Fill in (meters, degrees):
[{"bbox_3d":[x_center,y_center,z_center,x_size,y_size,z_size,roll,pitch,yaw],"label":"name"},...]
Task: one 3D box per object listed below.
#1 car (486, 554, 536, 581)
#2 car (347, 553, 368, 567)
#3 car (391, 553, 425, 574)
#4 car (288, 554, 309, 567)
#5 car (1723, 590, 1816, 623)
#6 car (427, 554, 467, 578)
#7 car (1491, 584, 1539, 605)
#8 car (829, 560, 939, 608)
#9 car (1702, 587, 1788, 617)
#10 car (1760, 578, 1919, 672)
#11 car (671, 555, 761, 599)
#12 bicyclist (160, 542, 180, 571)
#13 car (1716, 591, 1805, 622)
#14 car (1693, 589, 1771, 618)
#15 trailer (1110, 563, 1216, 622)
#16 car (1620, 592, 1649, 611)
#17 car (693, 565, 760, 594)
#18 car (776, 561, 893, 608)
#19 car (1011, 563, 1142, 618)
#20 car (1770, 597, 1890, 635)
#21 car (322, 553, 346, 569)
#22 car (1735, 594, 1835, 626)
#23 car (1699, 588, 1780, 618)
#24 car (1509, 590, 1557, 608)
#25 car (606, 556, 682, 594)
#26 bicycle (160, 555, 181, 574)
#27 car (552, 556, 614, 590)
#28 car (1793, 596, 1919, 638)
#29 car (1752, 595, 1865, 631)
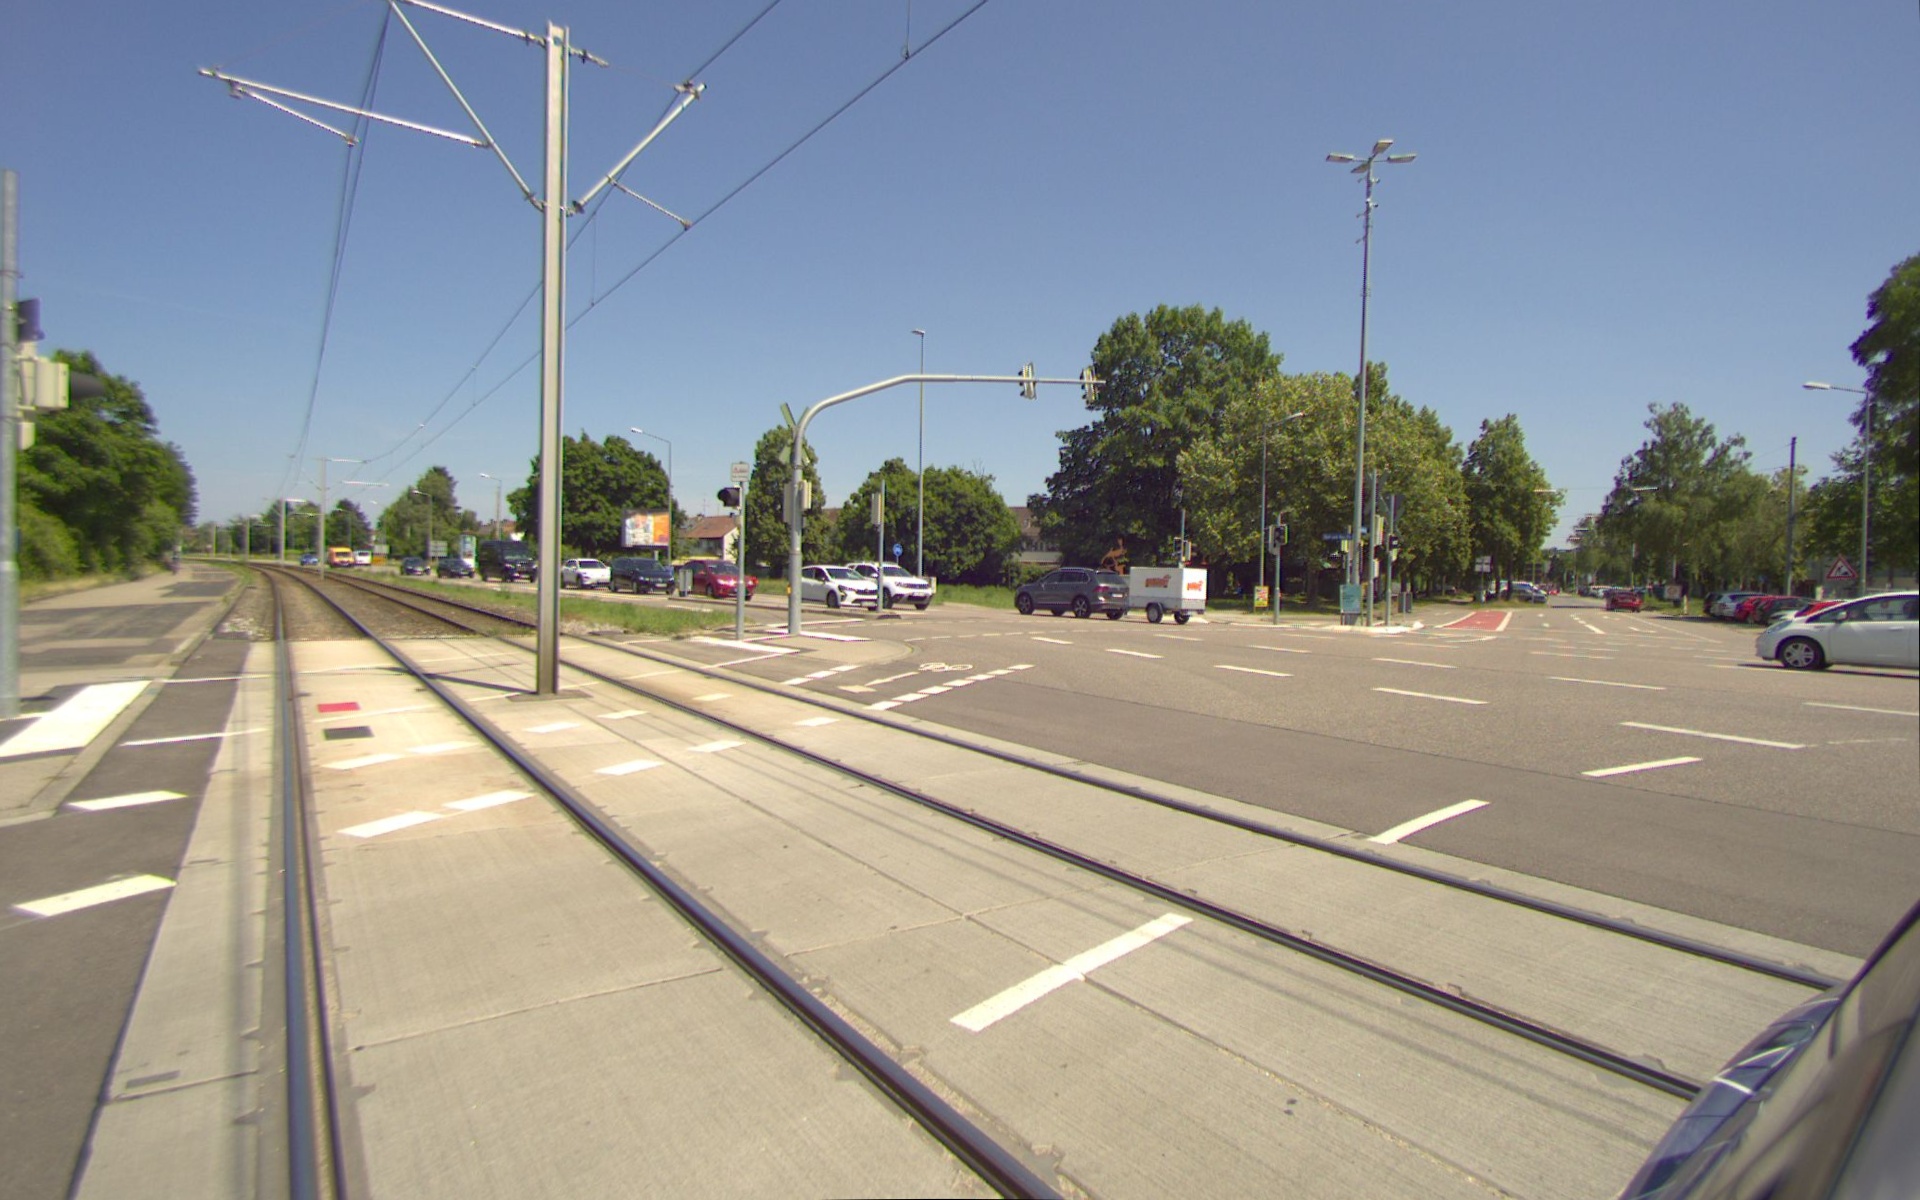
[{"bbox_3d":[-28.027,-2.033,63.105,1.840,1.596,4.410,2,1,-37],"label":"car"},{"bbox_3d":[-78.870,-5.250,132.481,1.741,1.777,3.996,3,0,-40],"label":"car"},{"bbox_3d":[-45.940,-3.064,84.197,1.840,1.596,4.410,2,1,-37],"label":"car"},{"bbox_3d":[-93.330,-5.631,142.777,1.965,1.811,3.996,-2,3,-39],"label":"car"},{"bbox_3d":[40.960,0.312,51.289,3.462,1.574,1.568,1,-1,30],"label":"car"},{"bbox_3d":[-37.967,-2.527,74.796,1.840,1.596,4.410,2,1,-37],"label":"car"},{"bbox_3d":[49.979,-0.475,91.115,3.741,1.750,1.743,1,-1,30],"label":"car"},{"bbox_3d":[-2.812,-0.621,36.661,1.840,1.596,4.410,2,1,-37],"label":"car"},{"bbox_3d":[42.881,0.121,55.355,3.462,1.574,1.568,1,-1,30],"label":"car"},{"bbox_3d":[16.550,0.448,17.558,1.700,1.523,3.895,2,1,-39],"label":"car"},{"bbox_3d":[-9.829,-0.947,40.553,1.840,1.596,4.410,2,1,-37],"label":"car"},{"bbox_3d":[-57.303,-3.157,73.414,1.056,2.038,1.184,-3,3,-40],"label":"bicyclist"},{"bbox_3d":[42.131,0.338,53.361,3.462,1.574,1.568,1,-1,30],"label":"car"},{"bbox_3d":[45.584,0.218,59.826,3.462,1.600,1.568,1,-1,30],"label":"car"},{"bbox_3d":[6.176,-0.249,30.921,1.383,1.675,2.936,2,1,-39],"label":"trailer"},{"bbox_3d":[48.430,0.096,72.692,1.572,1.243,3.452,1,-1,31],"label":"car"},{"bbox_3d":[-12.243,-1.097,52.927,1.733,1.365,4.311,2,1,-37],"label":"car"},{"bbox_3d":[-4.227,-0.549,33.410,1.840,1.406,4.410,2,1,-37],"label":"car"},{"bbox_3d":[3.818,-0.357,33.765,1.700,1.679,4.405,2,1,-39],"label":"car"},{"bbox_3d":[35.516,0.637,41.429,3.462,1.447,1.568,1,-1,30],"label":"car"},{"bbox_3d":[-71.273,-4.431,115.252,1.840,1.706,4.410,2,1,-37],"label":"car"},{"bbox_3d":[39.727,0.492,48.824,3.462,1.447,1.568,1,-1,30],"label":"car"},{"bbox_3d":[44.581,0.164,57.976,3.462,1.600,1.568,1,-1,30],"label":"car"},{"bbox_3d":[48.697,-0.099,86.073,3.462,1.495,1.568,1,-1,30],"label":"car"},{"bbox_3d":[-14.425,-1.168,46.056,1.840,1.596,4.410,2,1,-37],"label":"car"},{"bbox_3d":[-57.261,-2.584,73.410,1.045,1.362,2.693,-4,4,-39],"label":"bicycle"},{"bbox_3d":[-19.266,-1.407,51.597,1.698,1.596,4.410,2,1,-37],"label":"car"},{"bbox_3d":[33.056,0.611,37.230,3.462,1.447,1.568,1,-1,30],"label":"car"},{"bbox_3d":[36.456,0.555,43.602,3.462,1.447,1.568,1,-1,30],"label":"car"}]
